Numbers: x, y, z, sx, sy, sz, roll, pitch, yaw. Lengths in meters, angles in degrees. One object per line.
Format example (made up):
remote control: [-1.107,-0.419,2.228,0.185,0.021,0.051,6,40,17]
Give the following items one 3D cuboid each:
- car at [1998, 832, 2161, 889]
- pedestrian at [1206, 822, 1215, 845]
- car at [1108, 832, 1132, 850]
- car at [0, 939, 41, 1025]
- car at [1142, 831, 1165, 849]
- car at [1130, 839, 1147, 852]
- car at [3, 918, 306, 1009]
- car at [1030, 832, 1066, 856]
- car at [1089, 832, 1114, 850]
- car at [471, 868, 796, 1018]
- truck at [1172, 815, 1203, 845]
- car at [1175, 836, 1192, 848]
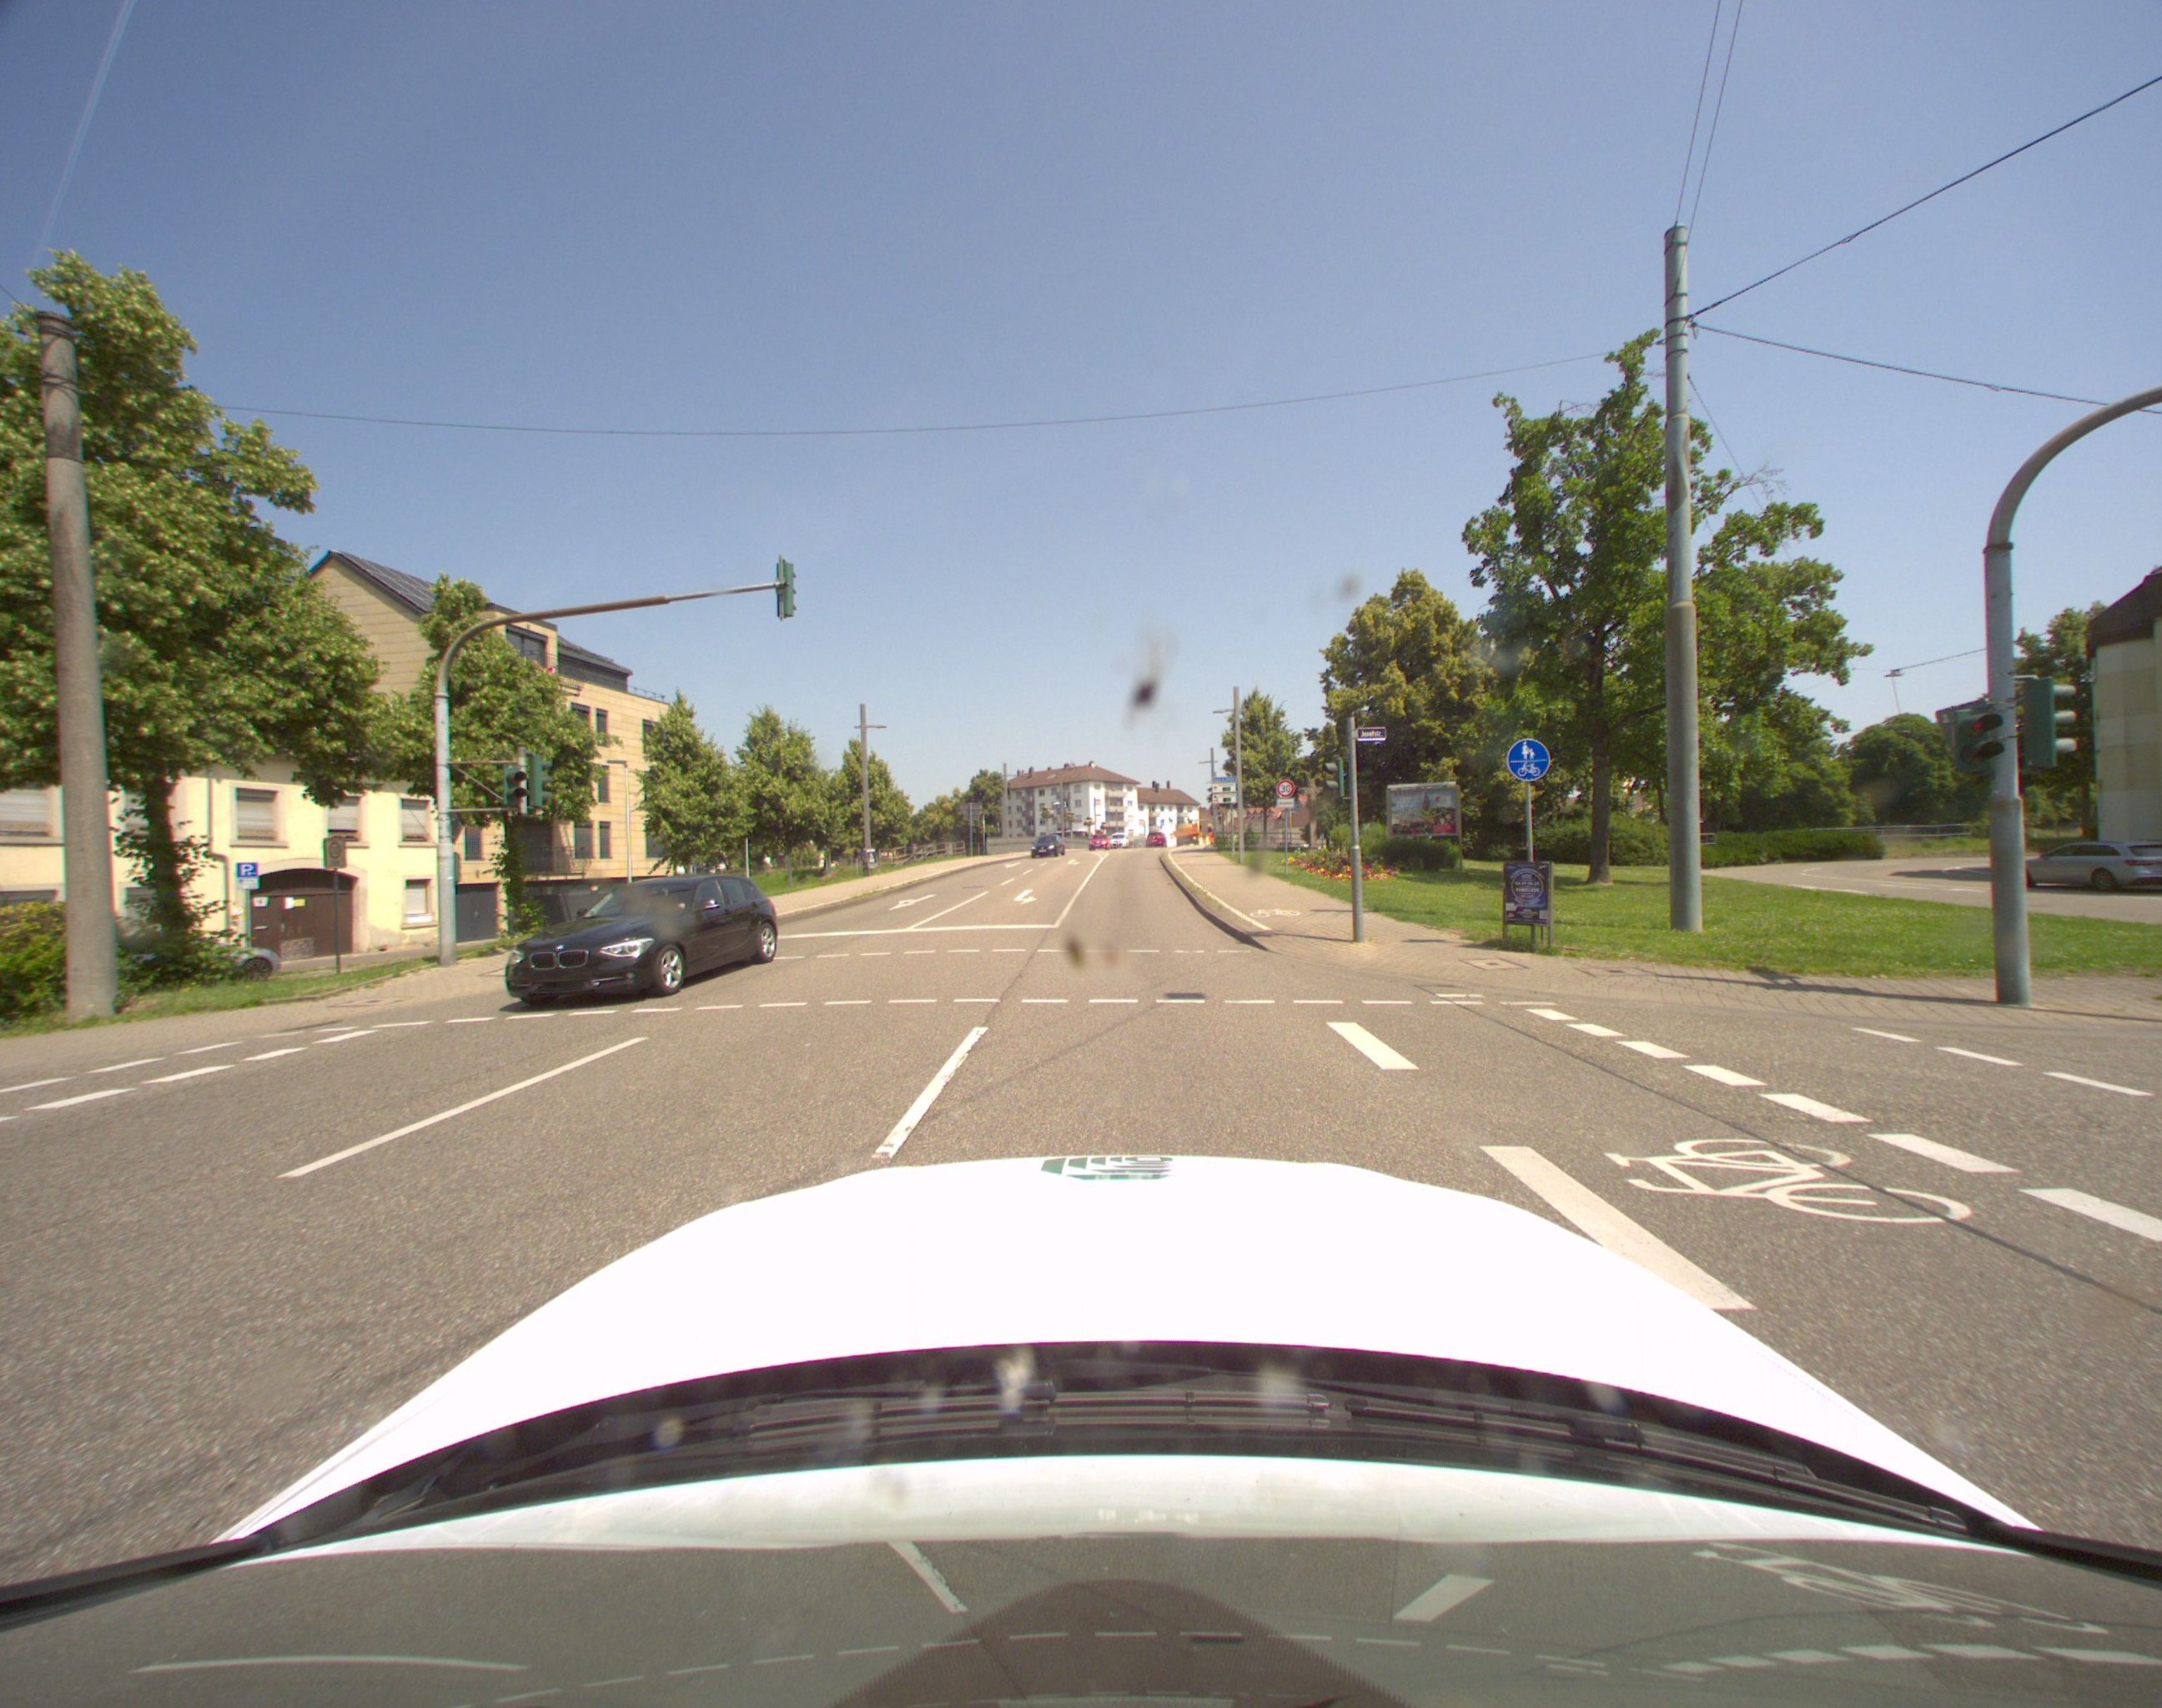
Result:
car: [29.535,0.162,23.576,1.878,1.499,4.550,-1,0,17]
pedestrian: [11.177,-1.765,70.338,0.545,1.959,0.672,-2,0,-1]
car: [4.399,-1.517,91.309,1.825,1.860,4.678,-4,1,11]
car: [-22.555,2.635,14.108,1.804,1.628,5.300,-5,0,9]
car: [7.281,-1.415,81.259,1.979,1.612,4.353,-3,0,8]
car: [7.799,-1.143,110.576,1.726,1.640,3.933,-4,-1,11]
car: [-21.696,2.476,19.400,1.765,1.432,4.442,-1,2,9]
car: [-2.149,-0.662,54.422,1.704,1.485,4.040,-1,0,8]
car: [1.849,-1.151,73.195,1.637,1.464,3.871,-2,0,9]
car: [-5.581,1.009,10.876,1.829,1.399,4.053,-4,0,3]
truck: [10.580,-2.343,80.661,2.589,2.691,5.840,-2,1,10]
car: [14.152,-1.648,112.140,2.026,1.503,4.429,-1,0,10]
